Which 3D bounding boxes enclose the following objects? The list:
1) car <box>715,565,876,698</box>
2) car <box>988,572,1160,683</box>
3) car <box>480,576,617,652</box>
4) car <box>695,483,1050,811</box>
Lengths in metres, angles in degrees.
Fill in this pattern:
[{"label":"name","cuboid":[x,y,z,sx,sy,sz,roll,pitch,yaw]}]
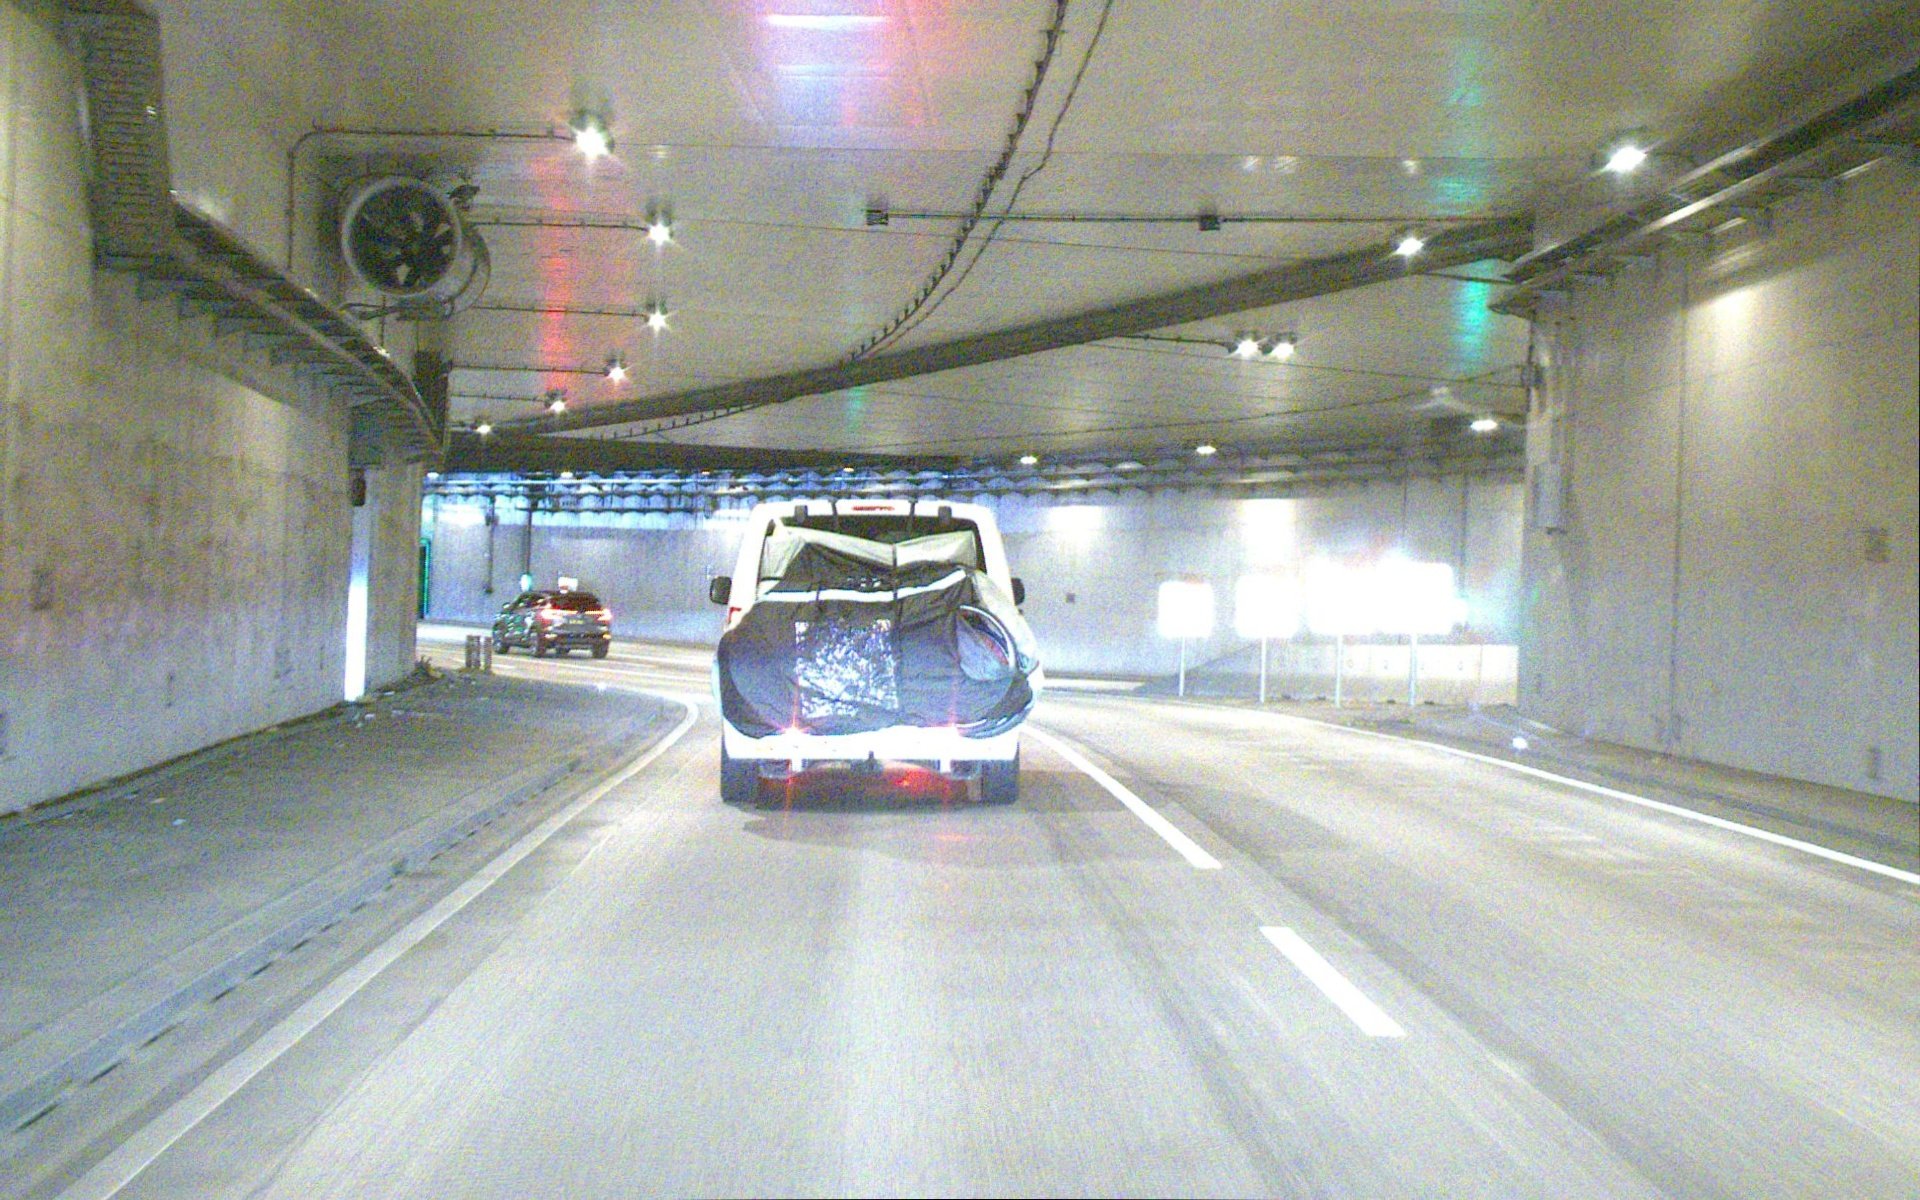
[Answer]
[{"label":"car","cuboid":[-2.112,0.417,43.433,1.602,1.588,3.356,1,-1,-10]},{"label":"car","cuboid":[1.769,0.406,54.272,1.602,1.624,3.357,-2,1,-19]},{"label":"car","cuboid":[-9.891,0.320,82.466,1.822,1.624,3.844,3,0,-30]},{"label":"car","cuboid":[-0.643,0.269,22.220,1.993,1.841,5.302,1,0,-3]}]
